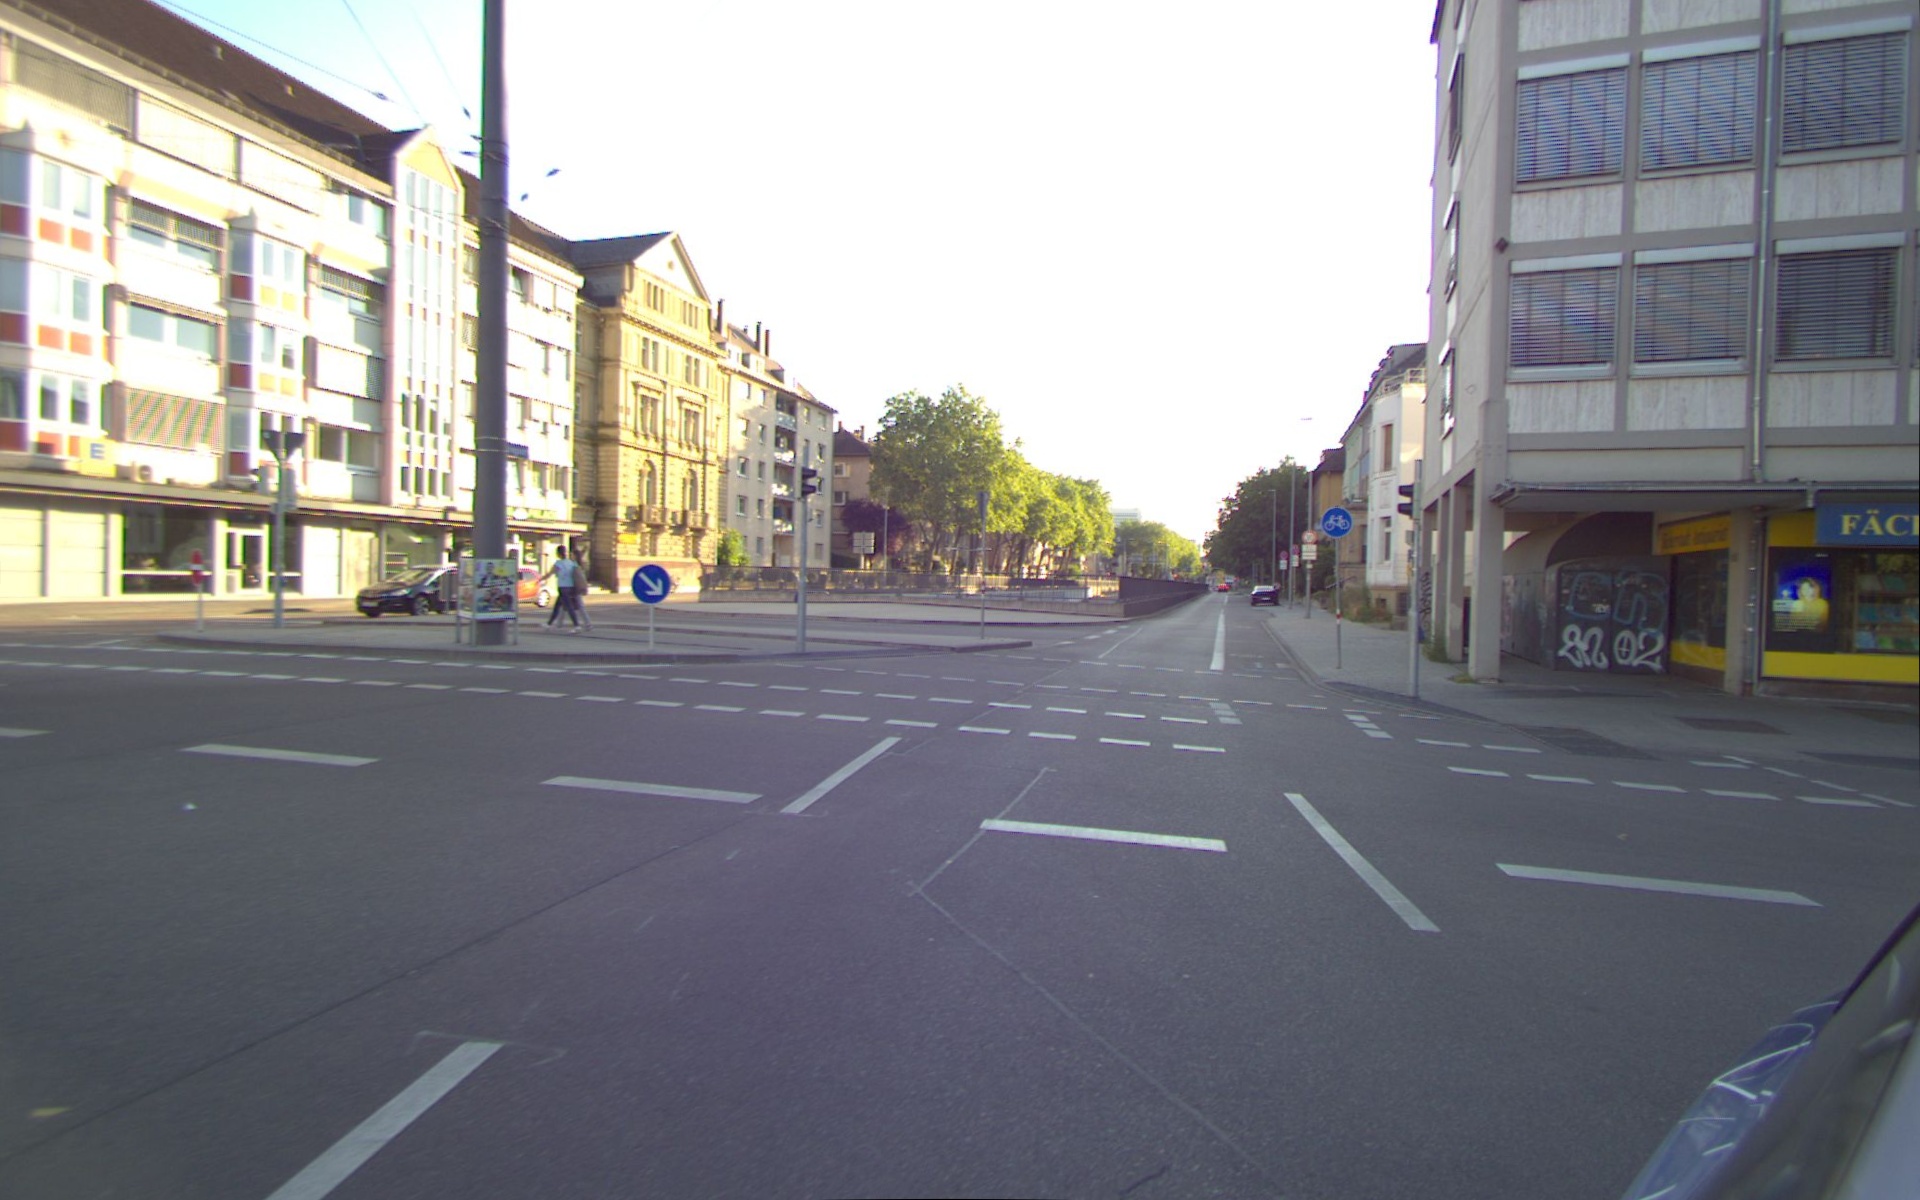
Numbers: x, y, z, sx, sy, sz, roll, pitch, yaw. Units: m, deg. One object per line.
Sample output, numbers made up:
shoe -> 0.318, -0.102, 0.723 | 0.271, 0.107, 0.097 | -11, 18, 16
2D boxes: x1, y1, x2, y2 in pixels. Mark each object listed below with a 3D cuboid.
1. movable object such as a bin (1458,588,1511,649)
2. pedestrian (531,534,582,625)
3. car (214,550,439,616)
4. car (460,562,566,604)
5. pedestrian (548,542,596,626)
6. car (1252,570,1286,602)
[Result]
movable object such as a bin -> 12.229, 0.406, 23.630 | 0.949, 1.343, 1.403 | 2, 2, 23
pedestrian -> -7.644, -0.391, 19.156 | 0.713, 1.669, 0.772 | 1, 1, -35
car -> -16.426, -0.501, 26.552 | 2.198, 1.574, 4.576 | 0, 2, 24
car -> -16.742, -0.651, 38.094 | 1.625, 1.439, 3.881 | 2, 1, 14
pedestrian -> -7.668, -0.321, 20.007 | 0.692, 1.602, 0.826 | 1, 1, -35
car -> 21.405, -0.987, 70.014 | 1.975, 2.038, 4.236 | 2, 2, 19
